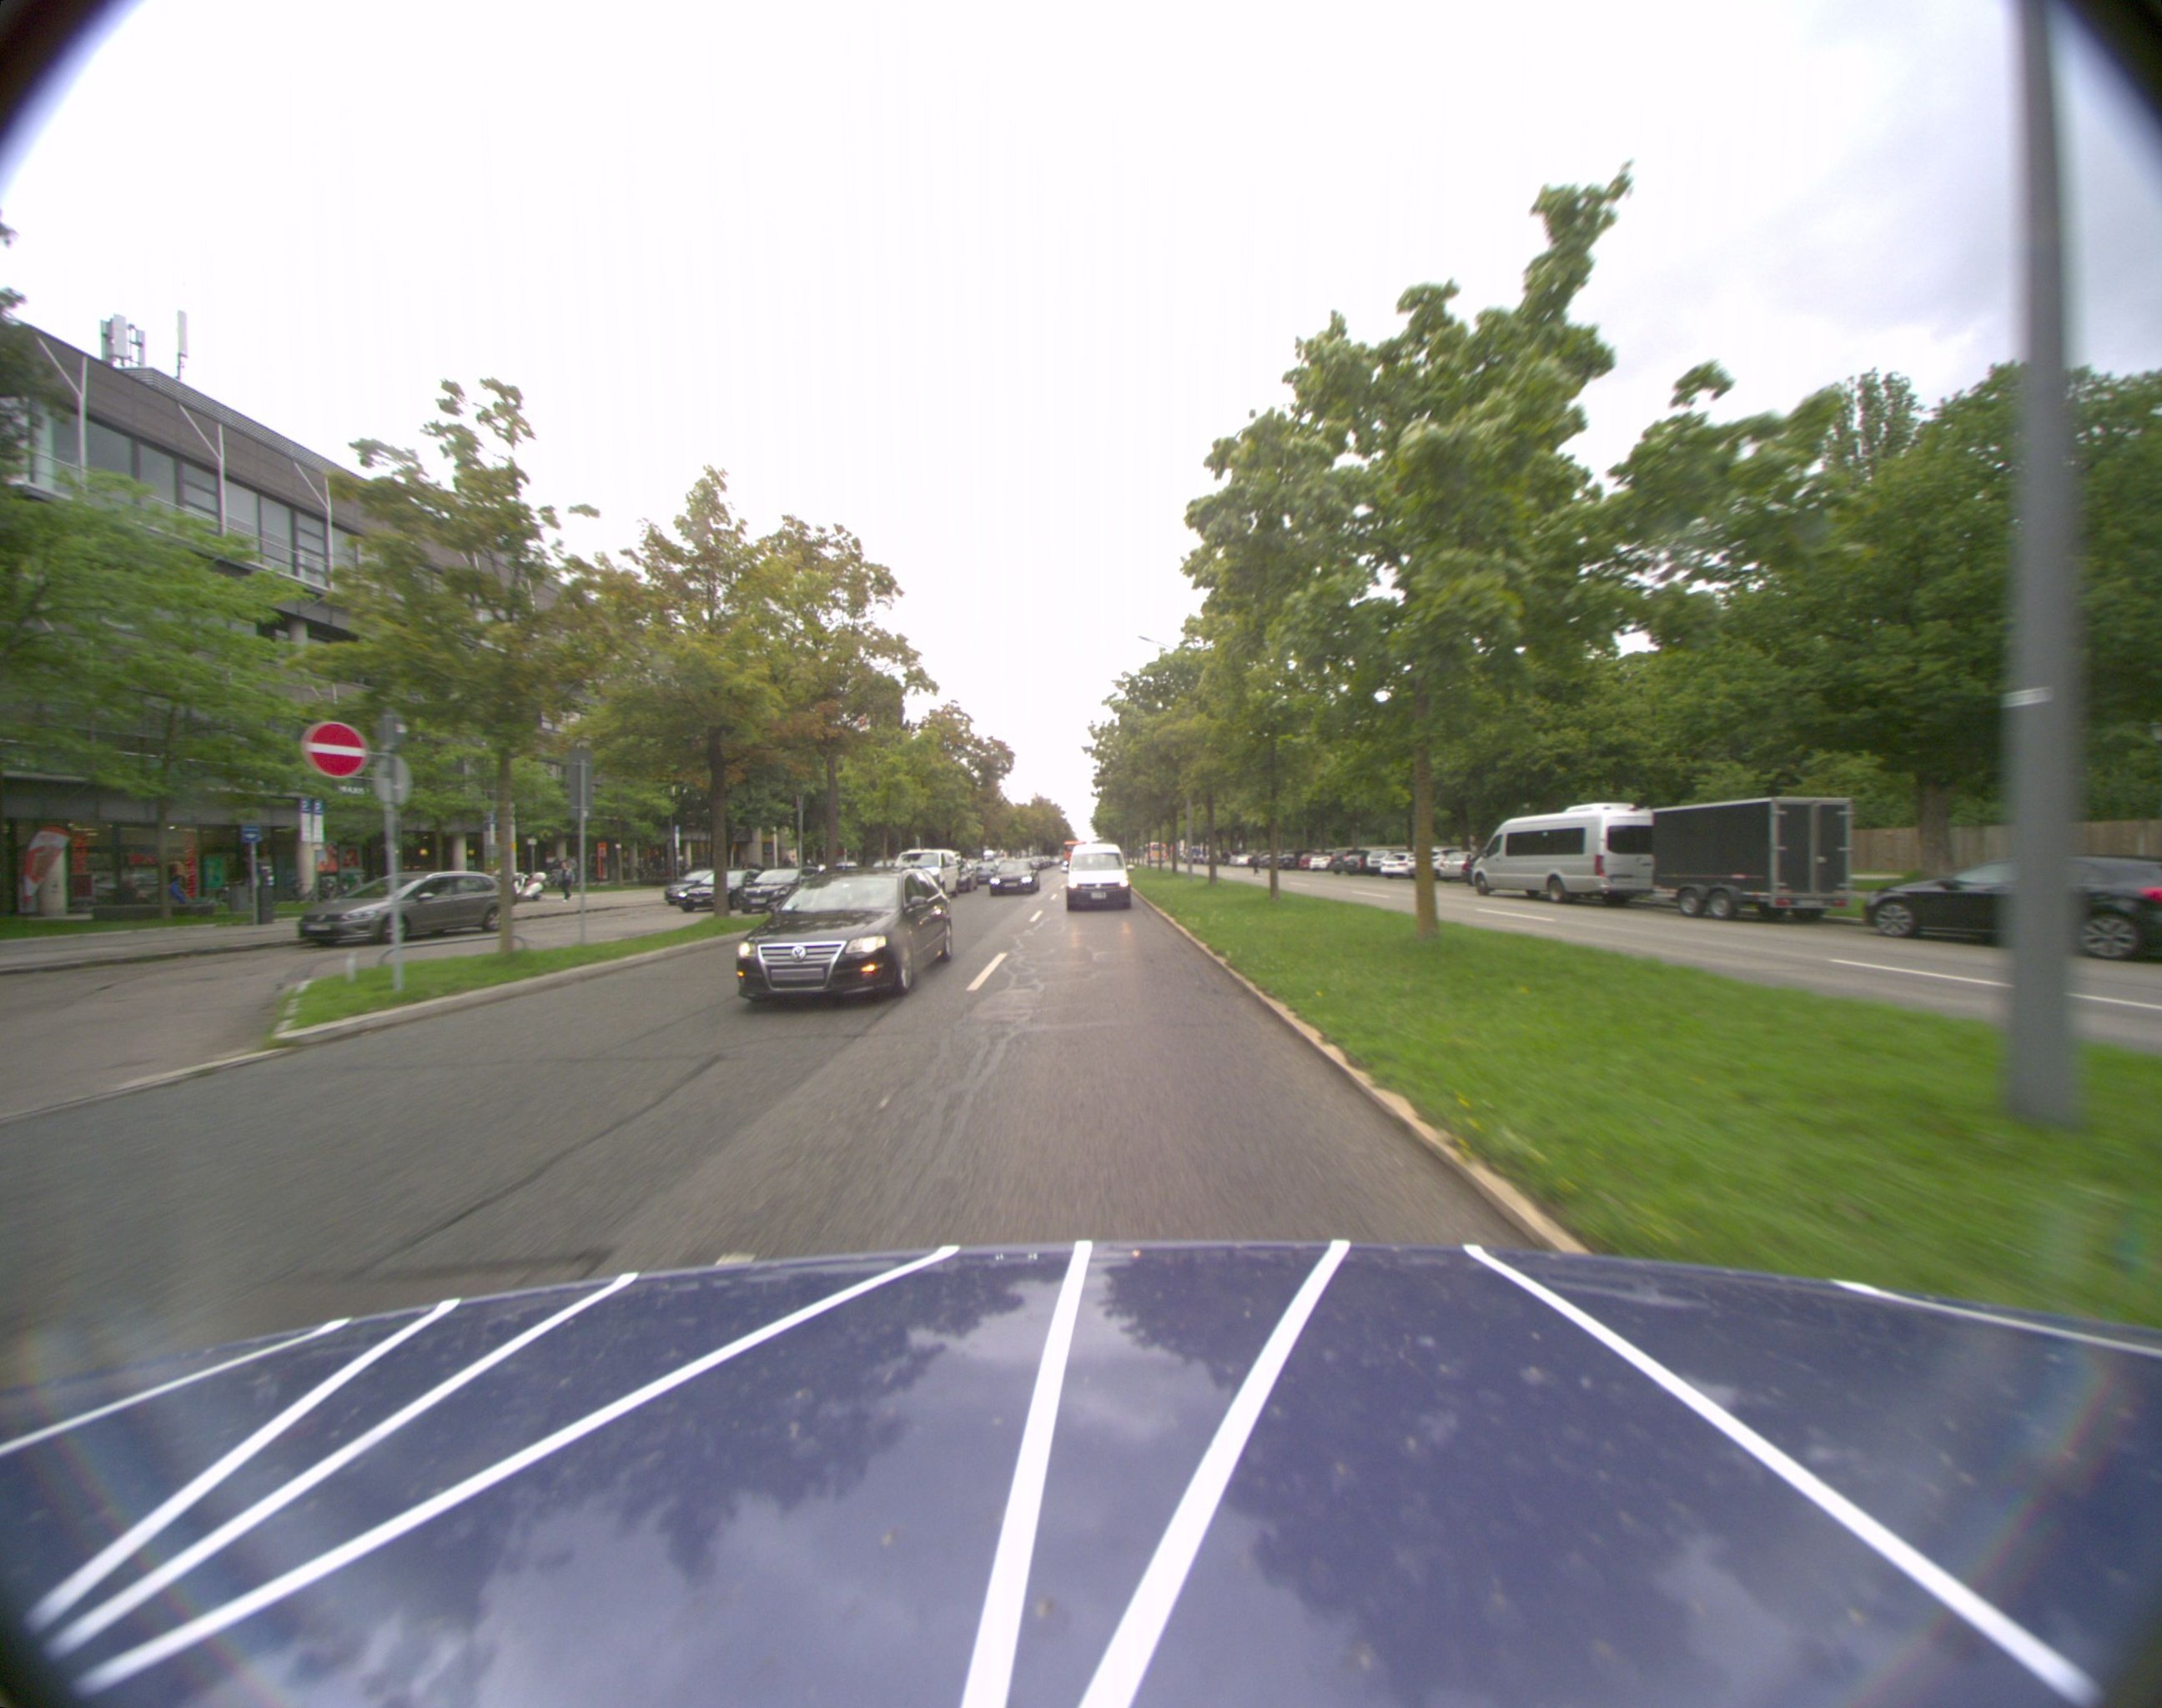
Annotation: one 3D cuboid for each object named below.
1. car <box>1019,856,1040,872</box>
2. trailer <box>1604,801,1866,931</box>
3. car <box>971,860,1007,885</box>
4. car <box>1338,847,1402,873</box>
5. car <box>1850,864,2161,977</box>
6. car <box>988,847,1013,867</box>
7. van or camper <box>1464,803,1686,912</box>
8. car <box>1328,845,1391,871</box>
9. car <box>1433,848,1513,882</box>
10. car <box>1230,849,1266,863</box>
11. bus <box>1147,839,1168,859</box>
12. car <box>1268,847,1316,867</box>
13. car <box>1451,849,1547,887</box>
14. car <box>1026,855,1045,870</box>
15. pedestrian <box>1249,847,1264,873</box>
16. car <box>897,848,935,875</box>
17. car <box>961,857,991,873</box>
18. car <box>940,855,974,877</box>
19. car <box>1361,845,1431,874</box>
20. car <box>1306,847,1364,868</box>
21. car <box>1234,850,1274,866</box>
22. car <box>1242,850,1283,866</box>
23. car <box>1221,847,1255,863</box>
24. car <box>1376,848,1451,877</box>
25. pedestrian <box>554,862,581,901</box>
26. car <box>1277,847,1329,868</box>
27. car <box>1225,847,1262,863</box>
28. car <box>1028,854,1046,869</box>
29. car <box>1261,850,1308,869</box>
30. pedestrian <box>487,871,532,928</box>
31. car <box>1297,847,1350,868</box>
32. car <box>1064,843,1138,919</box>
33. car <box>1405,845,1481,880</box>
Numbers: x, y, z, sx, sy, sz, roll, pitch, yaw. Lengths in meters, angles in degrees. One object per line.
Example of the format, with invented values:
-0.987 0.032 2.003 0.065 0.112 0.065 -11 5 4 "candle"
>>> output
-5.053 0.953 74.624 1.735 1.498 4.442 -3 0 0 "car"
14.585 0.229 17.413 2.022 2.575 4.658 0 0 1 "trailer"
-5.549 1.091 46.239 1.686 1.367 4.081 -3 0 0 "car"
18.881 0.386 49.579 4.006 1.477 1.797 -3 0 -34 "car"
14.704 0.875 11.541 1.804 1.376 4.238 0 0 1 "car"
-11.306 0.368 106.921 1.977 2.641 6.009 -3 0 9 "car"
14.721 0.075 23.493 2.040 2.821 7.546 0 0 1 "van or camper"
19.242 0.276 52.565 4.005 1.577 1.798 -3 0 -28 "car"
19.140 0.498 37.052 4.007 1.457 1.797 -3 1 -35 "car"
18.972 0.238 86.331 4.006 1.358 1.588 -2 1 -29 "car"
12.831 -0.858 128.605 2.676 3.279 11.926 0 1 2 "bus"
18.818 0.264 67.741 4.006 1.548 1.887 -3 0 -31 "car"
18.381 0.586 33.383 4.005 1.425 1.797 -2 1 -29 "car"
-4.763 0.908 80.506 1.735 1.424 4.442 -3 0 0 "car"
11.497 0.383 49.767 0.872 1.689 0.771 0 2 21 "pedestrian"
-16.051 0.701 74.150 2.268 2.514 5.858 -1 0 1 "car"
-9.442 0.971 68.552 1.826 1.338 4.437 -3 0 3 "car"
-9.847 0.928 60.706 1.826 1.581 4.875 -3 0 0 "car"
19.355 0.327 46.586 4.331 1.564 1.797 -3 1 -33 "car"
19.657 0.269 58.859 4.005 1.455 1.888 -3 0 -27 "car"
18.957 0.465 83.077 4.006 1.548 1.887 -3 0 -31 "car"
19.263 0.419 80.605 4.006 1.548 1.887 -3 0 -31 "car"
19.214 0.126 92.949 4.006 1.718 1.777 -3 1 -33 "car"
18.814 0.473 42.935 4.331 1.430 1.797 -3 1 -33 "car"
-20.528 1.104 30.370 0.660 1.533 0.631 1 1 -6 "pedestrian"
18.996 0.290 64.908 4.005 1.548 1.888 -3 0 -27 "car"
19.249 0.113 89.872 4.006 1.632 1.887 -3 1 -33 "car"
-4.906 0.848 85.651 1.735 1.507 4.442 -3 0 0 "car"
19.052 0.489 71.132 4.006 1.548 1.887 -3 0 -31 "car"
-16.336 1.284 21.722 0.657 1.584 0.755 -1 1 20 "pedestrian"
19.759 0.301 61.908 4.005 1.446 1.737 -3 0 -27 "car"
0.492 0.656 21.141 1.750 1.807 4.667 -3 0 0 "car"
18.956 0.410 39.770 4.007 1.613 1.797 -3 1 -35 "car"
